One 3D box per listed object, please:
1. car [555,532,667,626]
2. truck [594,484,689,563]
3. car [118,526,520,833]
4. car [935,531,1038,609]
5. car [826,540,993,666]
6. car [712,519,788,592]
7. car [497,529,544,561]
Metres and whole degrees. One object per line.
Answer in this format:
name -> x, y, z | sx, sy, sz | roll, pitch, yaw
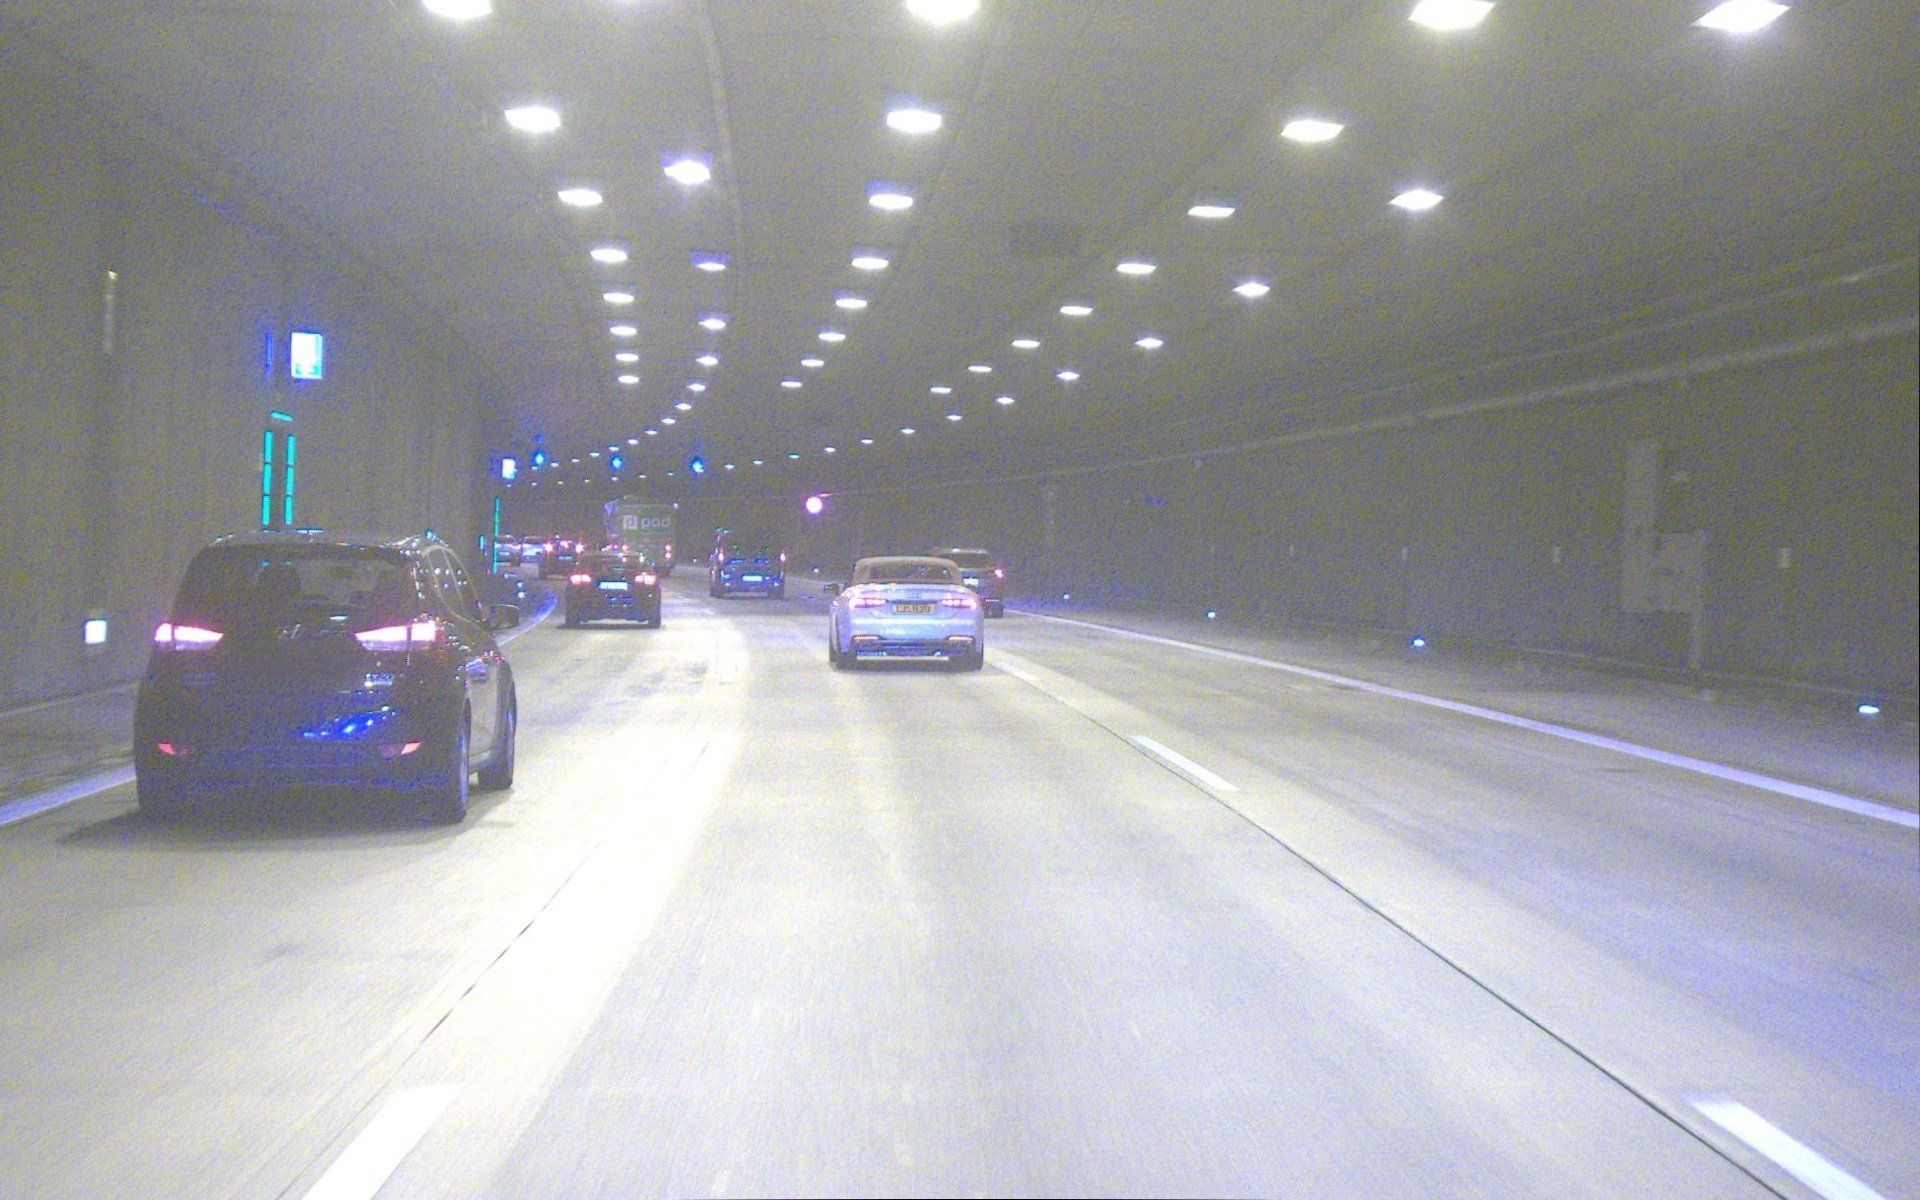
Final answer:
car -> -6.495, -0.412, 63.670 | 1.800, 1.678, 4.001 | 0, 1, -9
truck -> -13.224, -3.217, 142.144 | 3.082, 3.102, 10.032 | 1, 2, -10
car -> -3.573, 0.384, 19.772 | 1.785, 1.593, 3.802 | 0, 1, -3
car -> 0.537, -0.646, 73.311 | 1.839, 1.597, 4.001 | 0, 1, -4
car -> -0.652, 0.005, 43.312 | 1.993, 1.478, 4.000 | 1, 1, -1
car -> -5.724, -1.216, 94.218 | 1.993, 1.965, 4.000 | 0, 1, -2
car -> -22.087, -2.768, 172.840 | 1.993, 1.525, 4.001 | 1, 1, -12
